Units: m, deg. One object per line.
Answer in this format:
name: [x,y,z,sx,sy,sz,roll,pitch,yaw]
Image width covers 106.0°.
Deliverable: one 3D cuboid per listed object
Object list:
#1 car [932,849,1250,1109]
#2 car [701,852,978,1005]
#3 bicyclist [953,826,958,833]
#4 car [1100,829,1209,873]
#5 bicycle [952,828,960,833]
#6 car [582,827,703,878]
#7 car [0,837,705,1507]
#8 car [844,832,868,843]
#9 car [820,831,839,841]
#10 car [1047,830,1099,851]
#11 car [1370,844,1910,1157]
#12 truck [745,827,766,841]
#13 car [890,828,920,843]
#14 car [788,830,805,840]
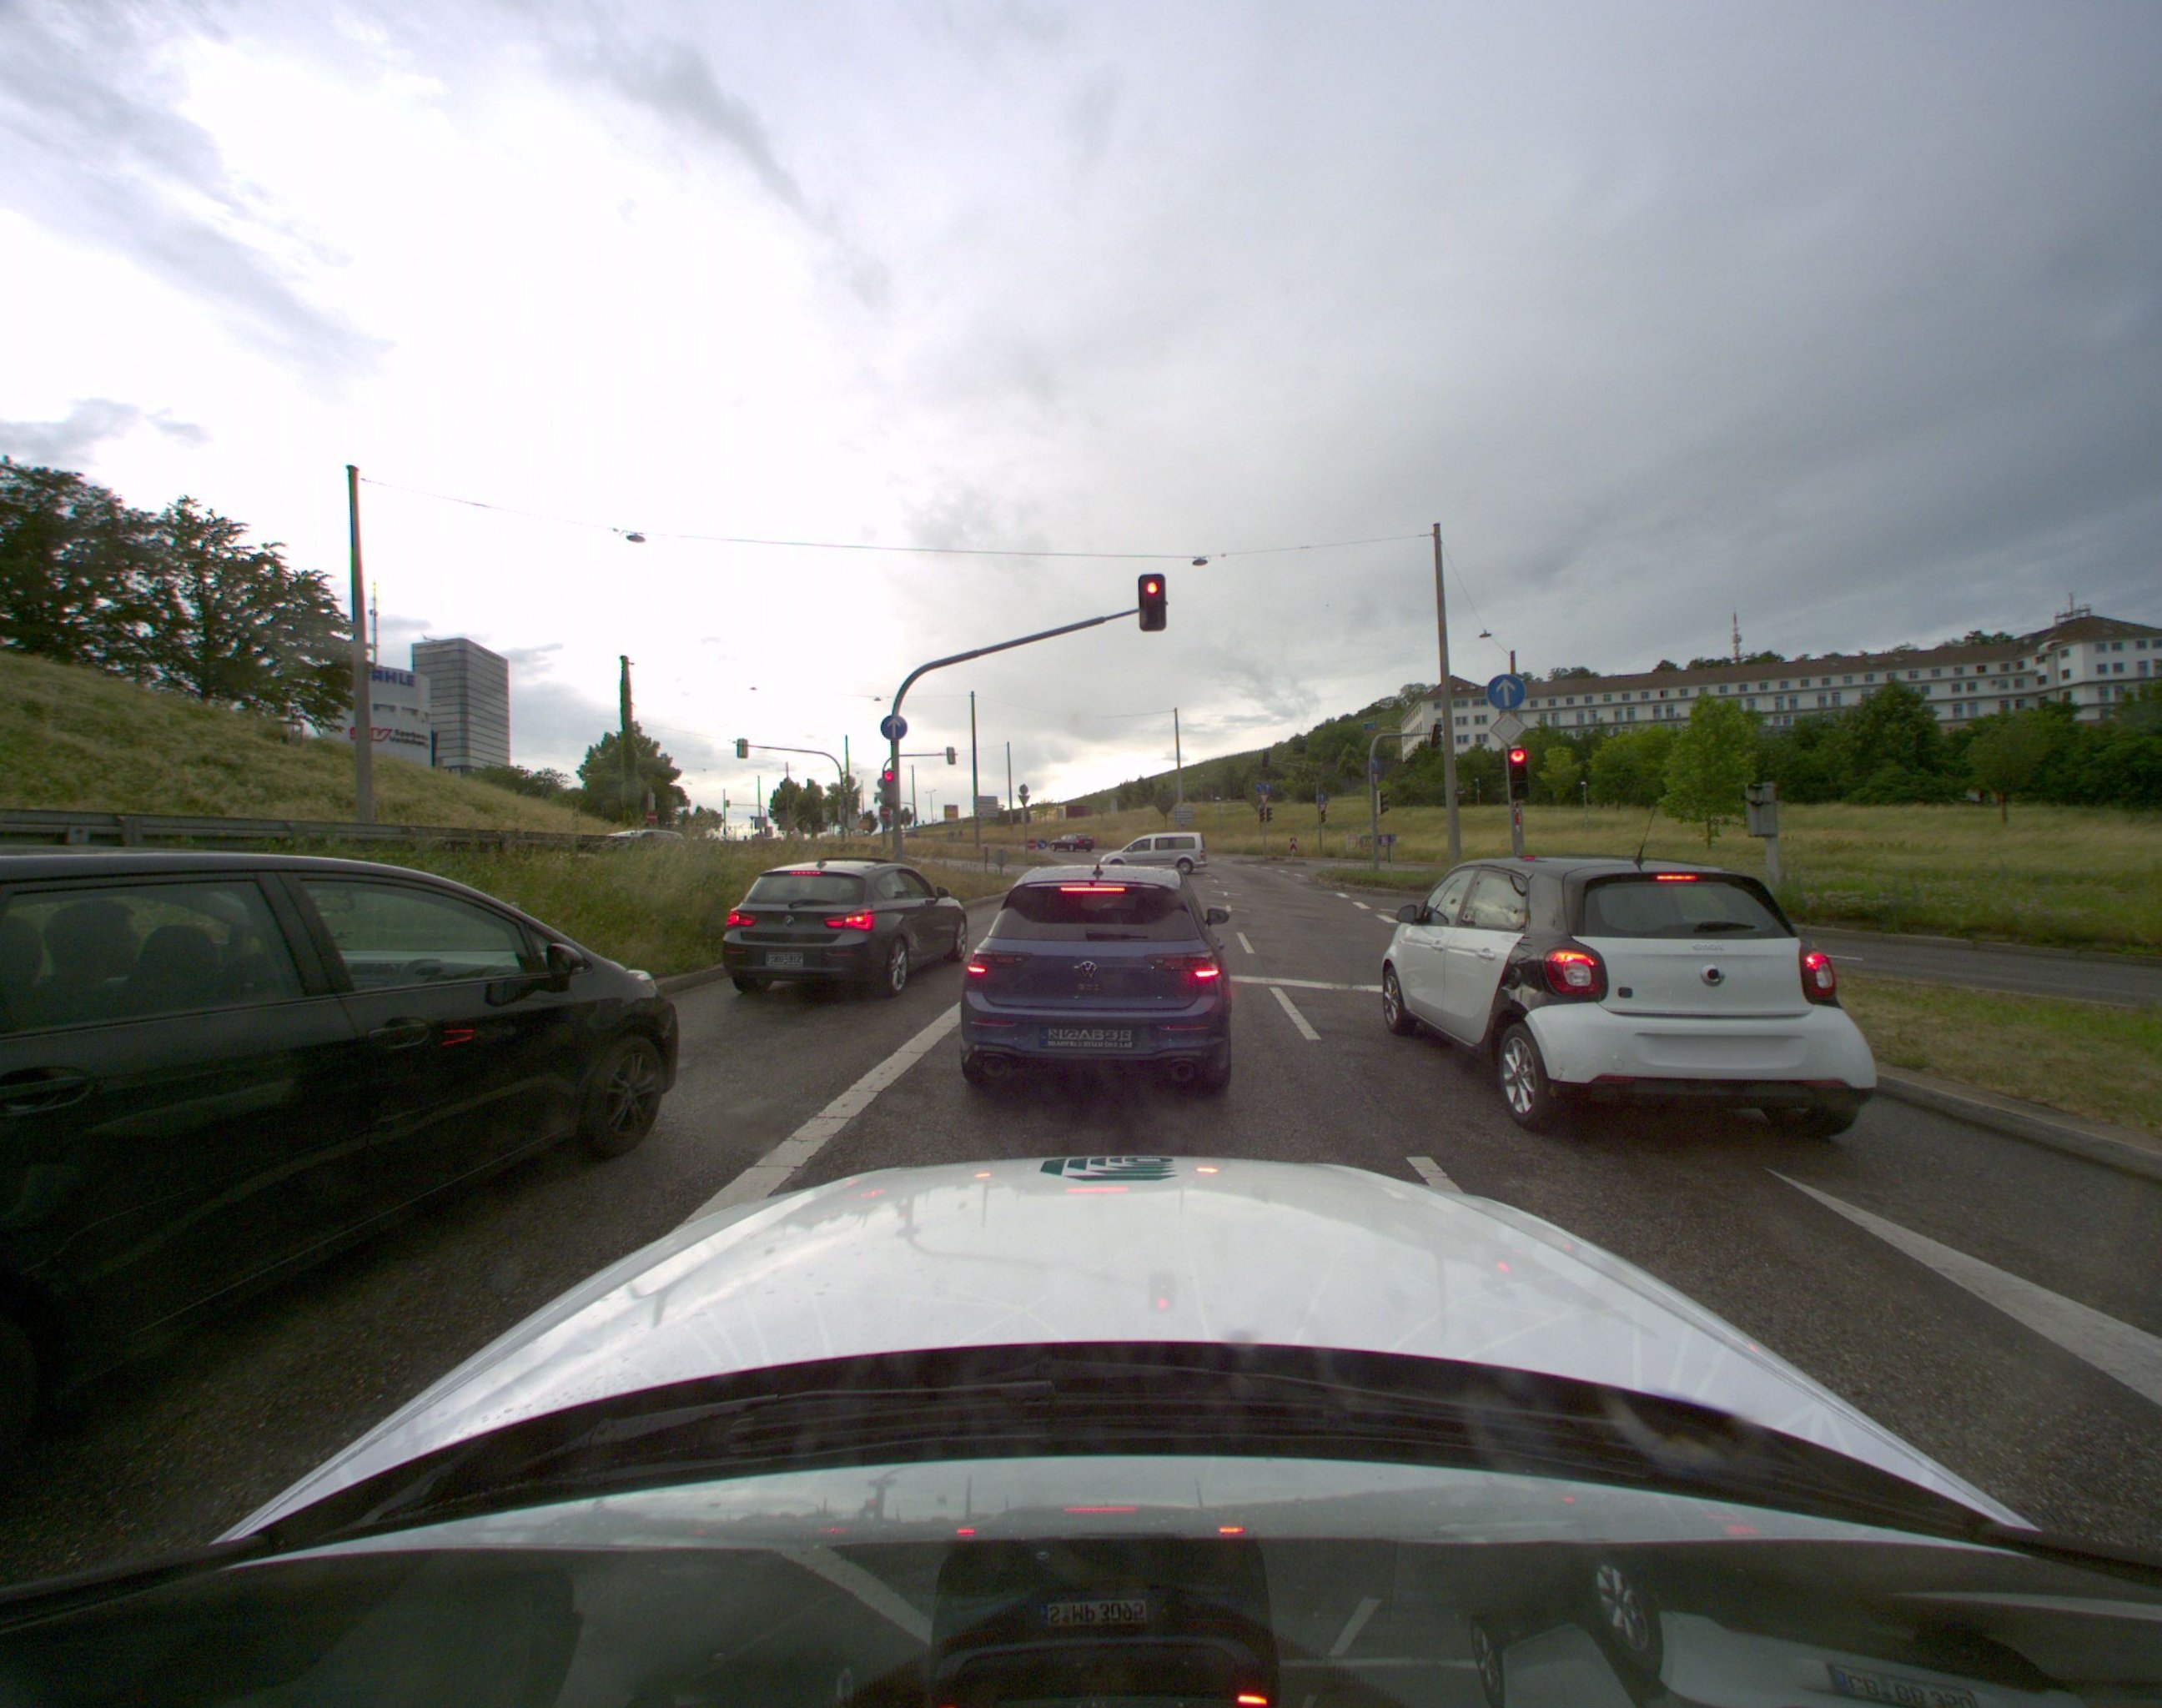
car: [0.277,0.714,6.565,1.815,1.460,3.816,-1,0,7]
car: [-2.633,0.734,9.999,1.693,1.459,4.123,-1,0,7]
bicyclist: [-18.410,-3.656,119.826,0.526,1.046,0.575,2,0,-31]
car: [3.343,-0.125,36.526,4.652,1.850,1.828,-1,1,11]
bicycle: [-18.442,-3.420,119.877,0.521,0.775,1.605,2,0,-31]
car: [-13.774,-0.059,25.824,1.729,1.517,3.679,0,0,2]
car: [-3.173,0.711,2.912,1.634,1.504,3.783,1,0,4]
car: [-32.852,-2.372,118.772,2.008,1.477,4.455,0,-1,-33]
car: [-41.792,-2.907,135.340,2.007,1.477,4.375,0,-1,-33]
car: [-0.709,-1.087,66.664,2.008,1.618,4.801,0,0,-34]
car: [3.318,0.735,5.709,1.649,1.503,3.456,-1,-1,6]
truck: [-78.331,-4.788,195.999,3.281,3.074,6.111,2,0,-35]
car: [-21.038,-2.195,97.425,2.008,1.637,4.373,0,-1,-35]
car: [-55.134,-3.675,157.927,2.143,1.794,4.694,1,0,-31]
